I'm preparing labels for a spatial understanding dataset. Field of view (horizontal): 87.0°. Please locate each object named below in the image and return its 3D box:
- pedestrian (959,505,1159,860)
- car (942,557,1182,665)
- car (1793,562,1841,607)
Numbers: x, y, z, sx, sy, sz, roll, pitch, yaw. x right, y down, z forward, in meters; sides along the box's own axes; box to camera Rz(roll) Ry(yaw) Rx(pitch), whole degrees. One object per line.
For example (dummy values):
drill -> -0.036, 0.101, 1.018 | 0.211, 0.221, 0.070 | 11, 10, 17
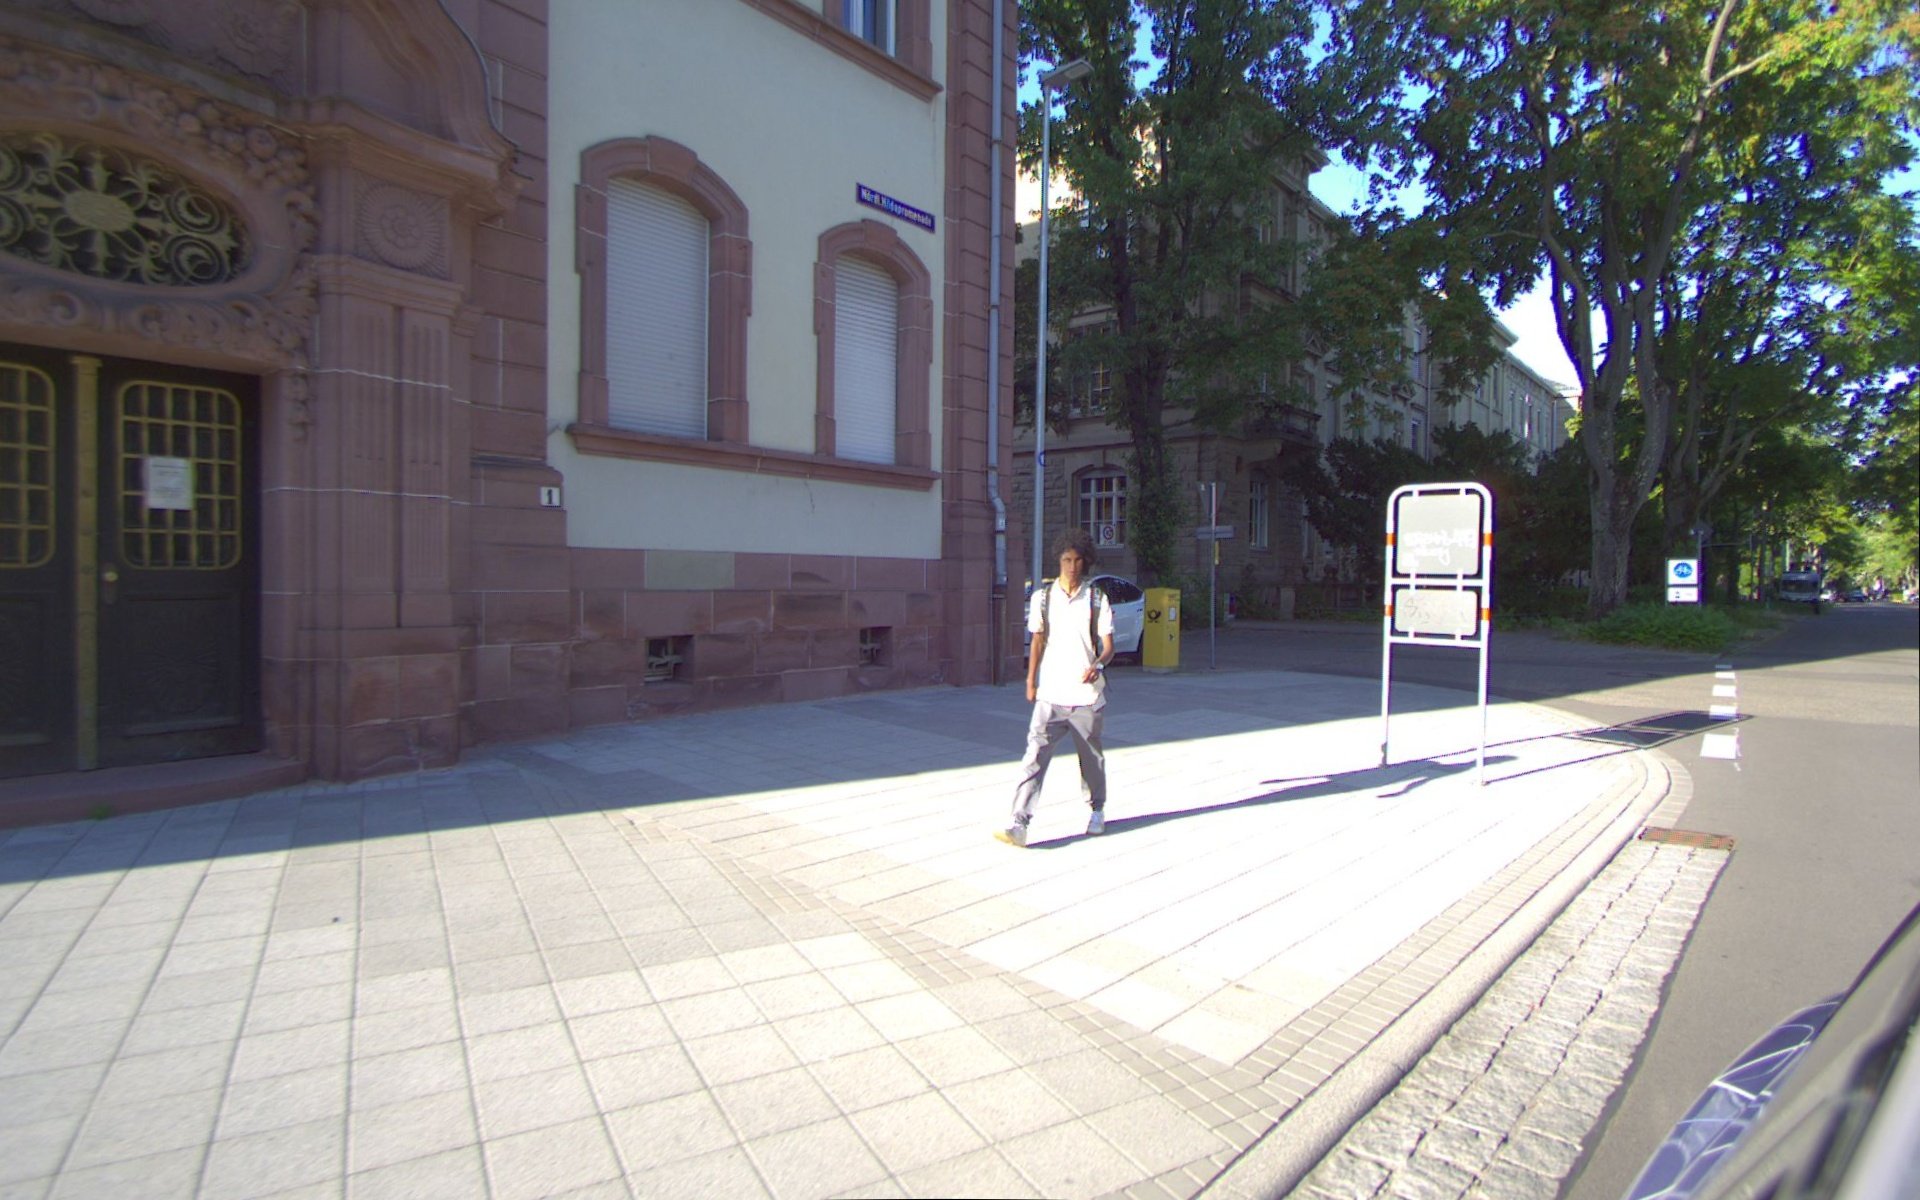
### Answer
pedestrian -> 0.553, 0.387, 5.490 | 0.532, 1.739, 0.988 | 5, 3, 42
car -> 1.923, 0.206, 17.624 | 1.956, 1.609, 4.656 | 2, -1, 38
car -> 52.741, -0.971, 62.253 | 1.947, 2.631, 4.099 | 1, 1, 45
